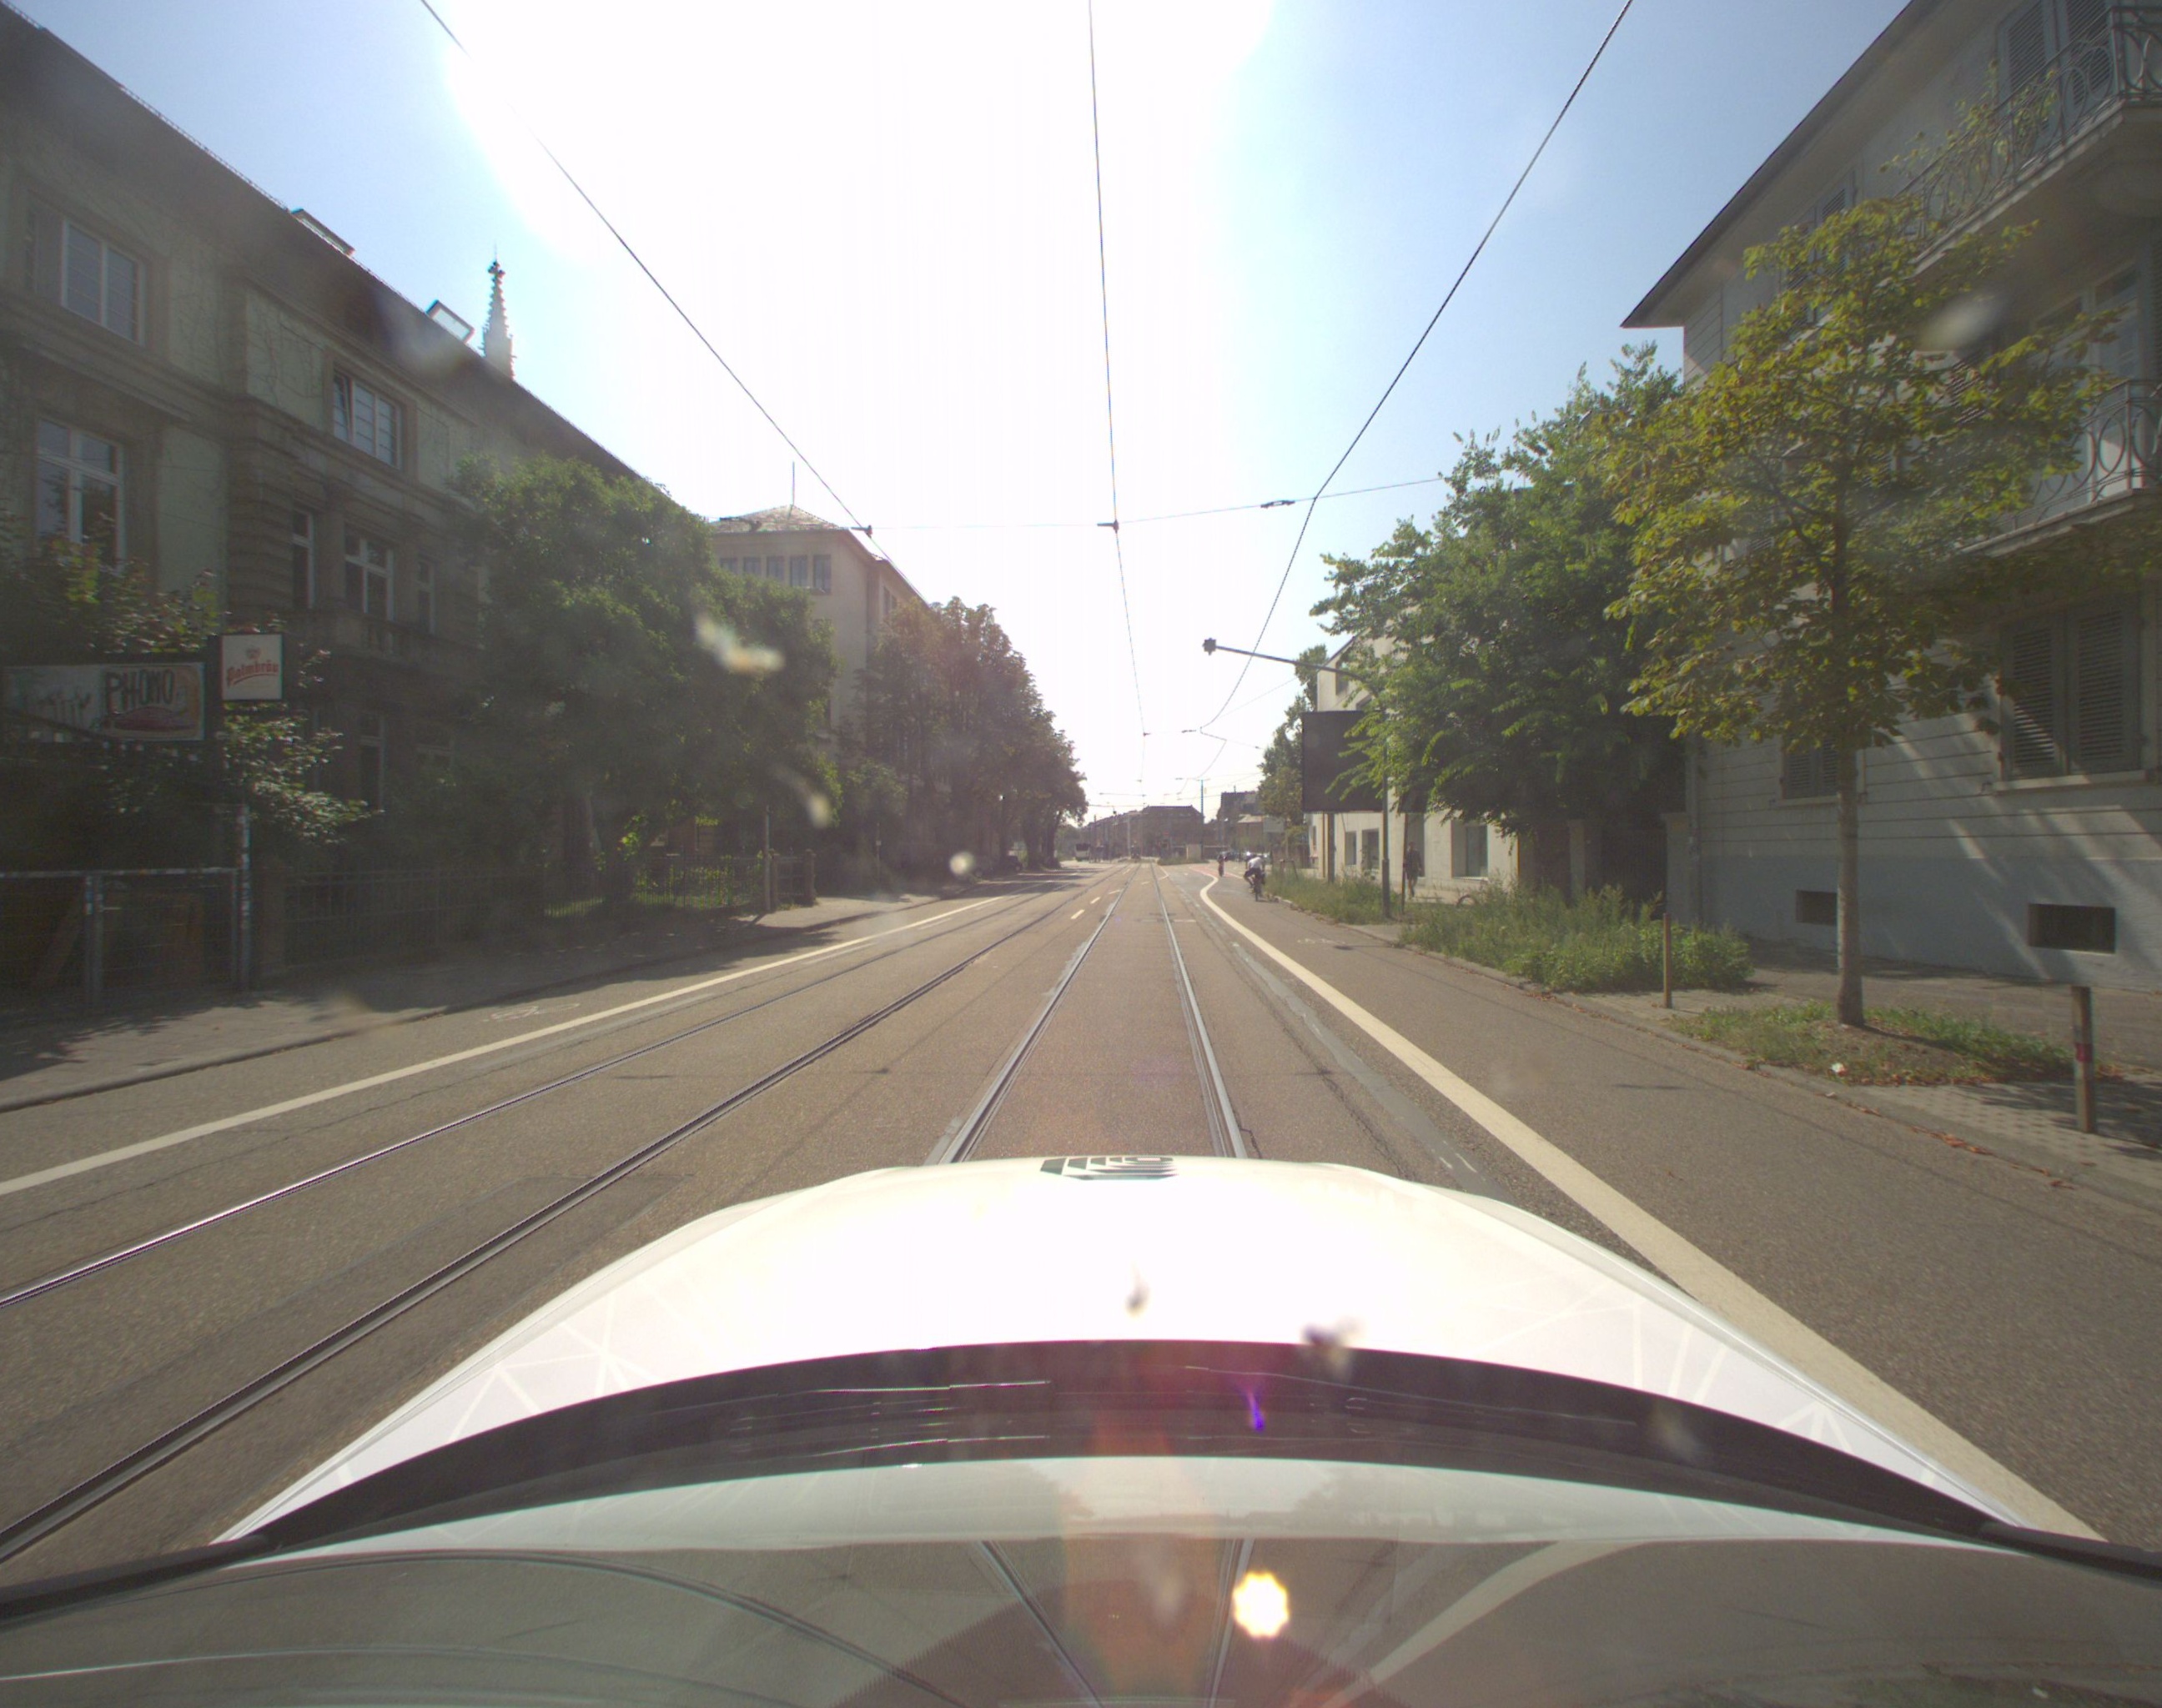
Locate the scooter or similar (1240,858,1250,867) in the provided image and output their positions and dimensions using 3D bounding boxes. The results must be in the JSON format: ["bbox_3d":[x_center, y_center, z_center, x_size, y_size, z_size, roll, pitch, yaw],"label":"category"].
[{"bbox_3d":[17.443,0.936,86.513,0.765,0.926,1.629,0,0,22],"label":"scooter or similar"}]

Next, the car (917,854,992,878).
[{"bbox_3d":[-8.119,0.759,52.298,4.433,1.462,1.808,0,0,-22],"label":"car"}]

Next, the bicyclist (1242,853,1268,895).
[{"bbox_3d":[5.993,0.685,28.097,0.741,1.411,0.963,0,0,5],"label":"bicyclist"}]

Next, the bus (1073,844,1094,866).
[{"bbox_3d":[0.497,0.157,143.790,2.944,3.775,10.608,0,0,4],"label":"bus"}]

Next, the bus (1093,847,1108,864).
[{"bbox_3d":[4.625,0.342,189.334,2.696,3.727,10.436,0,0,6],"label":"bus"}]

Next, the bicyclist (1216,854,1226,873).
[{"bbox_3d":[9.821,0.691,57.095,0.600,1.335,0.661,0,0,5],"label":"bicyclist"}]

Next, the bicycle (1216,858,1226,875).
[{"bbox_3d":[9.832,0.901,57.203,0.601,1.163,1.814,0,0,6],"label":"bicycle"}]

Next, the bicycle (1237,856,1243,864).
[{"bbox_3d":[22.888,0.809,117.028,0.440,1.117,1.454,-1,0,24],"label":"bicycle"}]

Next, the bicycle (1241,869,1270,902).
[{"bbox_3d":[5.990,1.062,28.056,0.735,1.049,2.236,0,0,5],"label":"bicycle"}]

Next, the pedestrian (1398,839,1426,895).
[{"bbox_3d":[10.480,0.410,25.818,0.688,1.732,0.580,0,0,6],"label":"pedestrian"}]

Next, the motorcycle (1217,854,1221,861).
[{"bbox_3d":[25.843,0.624,152.284,0.599,1.210,2.263,0,0,16],"label":"motorcycle"}]

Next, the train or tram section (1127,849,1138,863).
[{"bbox_3d":[14.241,0.529,224.762,2.843,3.548,17.763,0,0,4],"label":"train or tram section"}]

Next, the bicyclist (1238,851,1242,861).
[{"bbox_3d":[22.914,0.222,117.066,0.445,1.421,0.498,-1,-1,24],"label":"bicyclist"}]

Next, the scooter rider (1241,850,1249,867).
[{"bbox_3d":[17.489,0.517,86.631,0.755,1.775,0.558,0,0,22],"label":"scooter rider"}]

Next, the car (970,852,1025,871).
[{"bbox_3d":[-6.913,0.576,67.512,4.179,1.496,1.802,0,0,-33],"label":"car"}]
